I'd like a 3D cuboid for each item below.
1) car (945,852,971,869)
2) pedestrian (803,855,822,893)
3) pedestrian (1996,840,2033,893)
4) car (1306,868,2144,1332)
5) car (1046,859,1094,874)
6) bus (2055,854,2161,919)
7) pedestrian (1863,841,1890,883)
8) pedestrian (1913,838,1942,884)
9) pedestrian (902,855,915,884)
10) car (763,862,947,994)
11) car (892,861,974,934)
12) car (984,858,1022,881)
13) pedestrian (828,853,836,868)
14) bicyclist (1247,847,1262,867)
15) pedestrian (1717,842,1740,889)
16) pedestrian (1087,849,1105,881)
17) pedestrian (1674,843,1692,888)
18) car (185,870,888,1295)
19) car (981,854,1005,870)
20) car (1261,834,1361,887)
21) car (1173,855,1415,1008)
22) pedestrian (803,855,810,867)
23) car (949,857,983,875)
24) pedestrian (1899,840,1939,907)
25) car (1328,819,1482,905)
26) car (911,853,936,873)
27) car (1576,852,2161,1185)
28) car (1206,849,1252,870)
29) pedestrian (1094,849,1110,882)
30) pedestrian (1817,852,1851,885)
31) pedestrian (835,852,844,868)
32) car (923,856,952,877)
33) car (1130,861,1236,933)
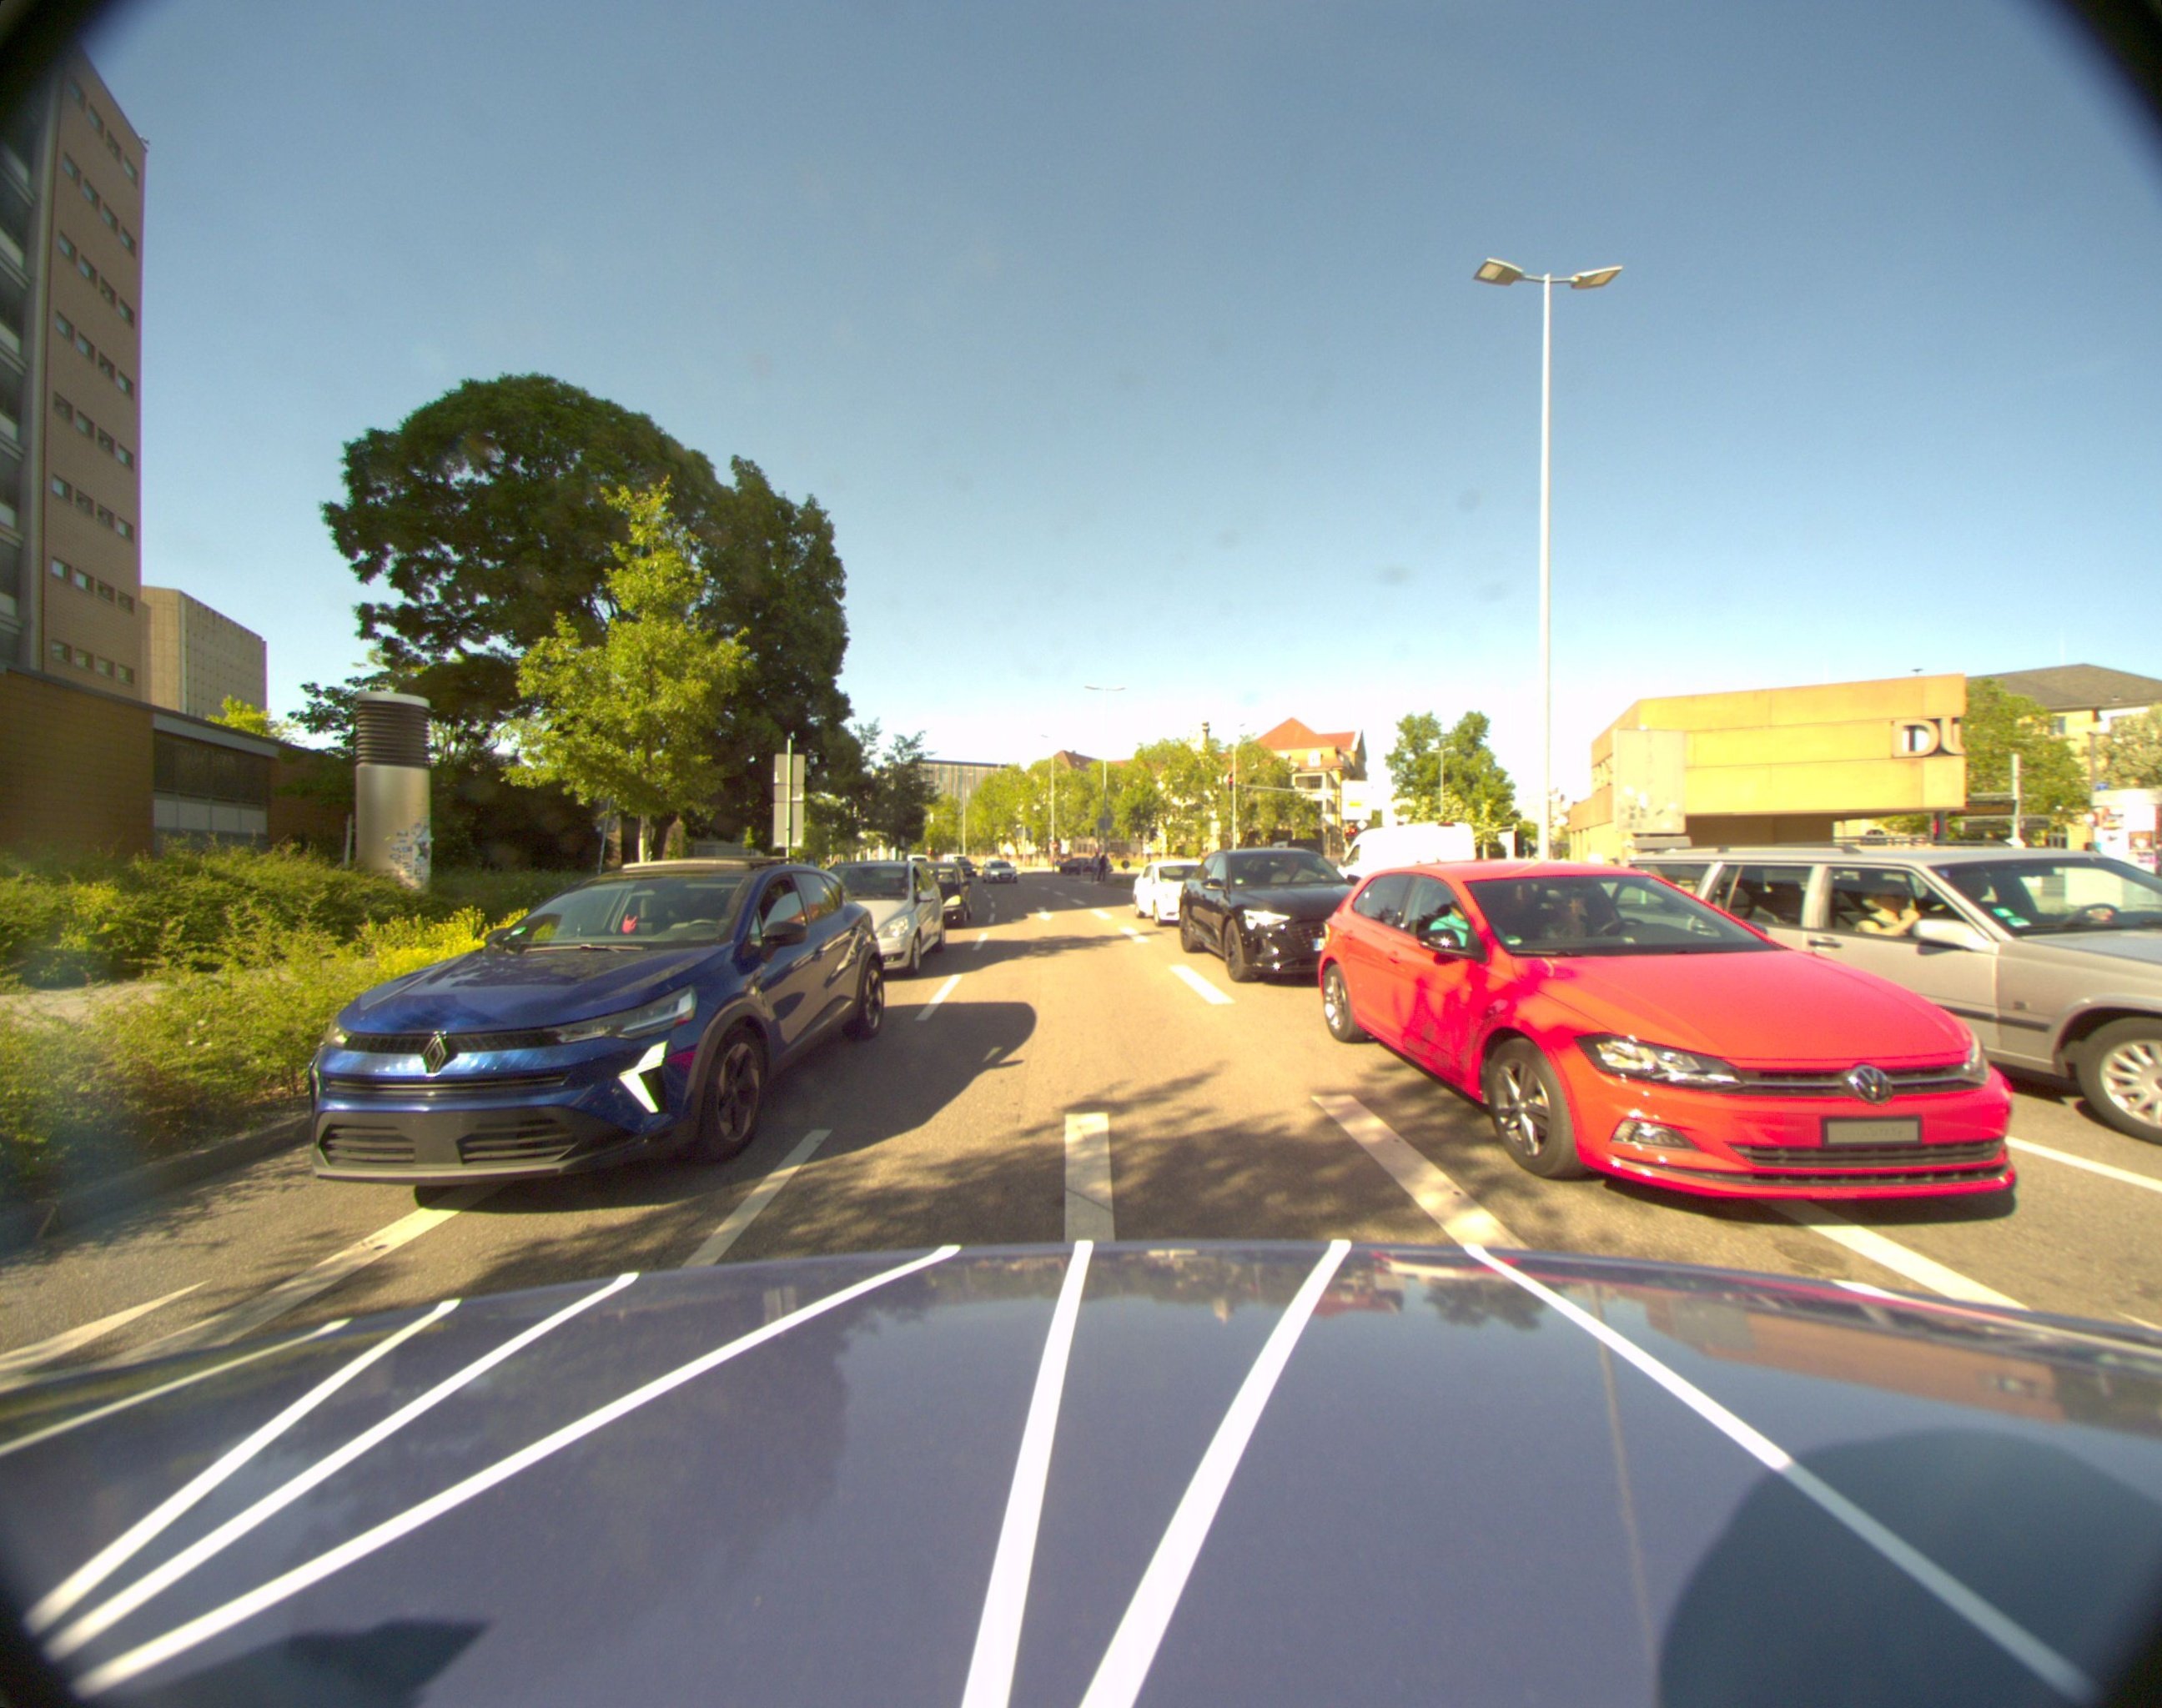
[{"bbox_3d":[-14.660,0.739,90.345,1.790,2.002,4.223,-2,1,-26],"label":"car"},{"bbox_3d":[-11.268,0.823,31.897,0.693,1.594,0.661,0,0,-14],"label":"pedestrian"},{"bbox_3d":[31.405,0.410,25.574,0.644,1.766,0.469,0,1,21],"label":"pedestrian"},{"bbox_3d":[2.790,0.878,4.529,1.674,1.464,3.853,-2,0,-1],"label":"car"},{"bbox_3d":[-0.962,1.008,63.737,3.988,1.197,1.589,0,0,41],"label":"car"},{"bbox_3d":[21.657,0.632,14.094,1.646,1.234,4.181,0,0,-5],"label":"bus"},{"bbox_3d":[33.281,0.331,31.788,0.645,1.766,0.468,-1,1,-4],"label":"pedestrian"},{"bbox_3d":[33.063,0.269,29.676,0.645,1.766,0.468,-1,1,-4],"label":"pedestrian"},{"bbox_3d":[-9.522,0.851,41.971,0.662,1.594,0.692,0,0,-17],"label":"pedestrian"},{"bbox_3d":[-3.183,0.945,11.547,1.786,1.615,4.042,0,0,-3],"label":"car"},{"bbox_3d":[-3.569,0.986,18.801,1.651,1.601,3.488,0,0,-6],"label":"car"},{"bbox_3d":[-5.033,0.990,48.732,1.754,1.370,3.569,-1,0,-17],"label":"car"},{"bbox_3d":[-31.119,0.809,94.796,0.823,1.906,0.770,-2,1,-23],"label":"pedestrian"},{"bbox_3d":[13.382,0.225,58.649,0.816,1.549,0.694,-2,1,-16],"label":"bicyclist"},{"bbox_3d":[24.823,0.429,29.128,0.644,1.766,0.618,0,1,42],"label":"pedestrian"},{"bbox_3d":[0.885,0.621,44.520,0.887,1.814,0.776,-2,1,-7],"label":"pedestrian"},{"bbox_3d":[24.011,0.461,30.324,0.467,1.766,0.647,0,1,29],"label":"pedestrian"},{"bbox_3d":[-2.686,0.953,5.070,1.705,1.596,4.084,-1,0,0],"label":"car"},{"bbox_3d":[-8.769,0.799,75.311,1.598,1.596,3.066,0,0,-22],"label":"car"},{"bbox_3d":[11.056,0.296,37.144,2.117,2.300,6.209,-1,0,-10],"label":"car"},{"bbox_3d":[2.564,0.830,10.368,1.859,1.606,4.452,0,0,-3],"label":"car"},{"bbox_3d":[-43.448,1.123,120.247,0.823,1.906,0.770,-2,1,-26],"label":"pedestrian"},{"bbox_3d":[-9.915,0.990,65.481,1.884,1.472,3.992,-2,0,-24],"label":"car"},{"bbox_3d":[22.900,0.527,20.763,0.647,1.778,0.666,-3,1,-39],"label":"pedestrian"},{"bbox_3d":[10.292,0.228,24.705,2.000,2.493,5.414,0,0,-9],"label":"car"},{"bbox_3d":[-14.762,0.827,70.997,1.830,1.842,3.746,0,0,-18],"label":"car"},{"bbox_3d":[5.763,0.775,5.001,1.713,1.464,4.752,-3,-1,-2],"label":"car"},{"bbox_3d":[12.054,0.461,61.876,3.383,1.669,1.523,0,0,-15],"label":"car"},{"bbox_3d":[1.205,0.639,43.079,0.756,1.814,0.776,-2,1,-5],"label":"pedestrian"},{"bbox_3d":[30.133,0.572,30.411,0.645,1.303,0.763,-1,0,9],"label":"pedestrian"},{"bbox_3d":[-30.191,0.775,94.972,0.823,1.906,0.770,-2,1,-23],"label":"pedestrian"},{"bbox_3d":[-11.028,0.941,58.247,1.754,1.467,3.569,-2,1,-16],"label":"car"},{"bbox_3d":[2.255,0.919,17.759,1.575,1.410,3.711,-2,0,-6],"label":"car"}]
